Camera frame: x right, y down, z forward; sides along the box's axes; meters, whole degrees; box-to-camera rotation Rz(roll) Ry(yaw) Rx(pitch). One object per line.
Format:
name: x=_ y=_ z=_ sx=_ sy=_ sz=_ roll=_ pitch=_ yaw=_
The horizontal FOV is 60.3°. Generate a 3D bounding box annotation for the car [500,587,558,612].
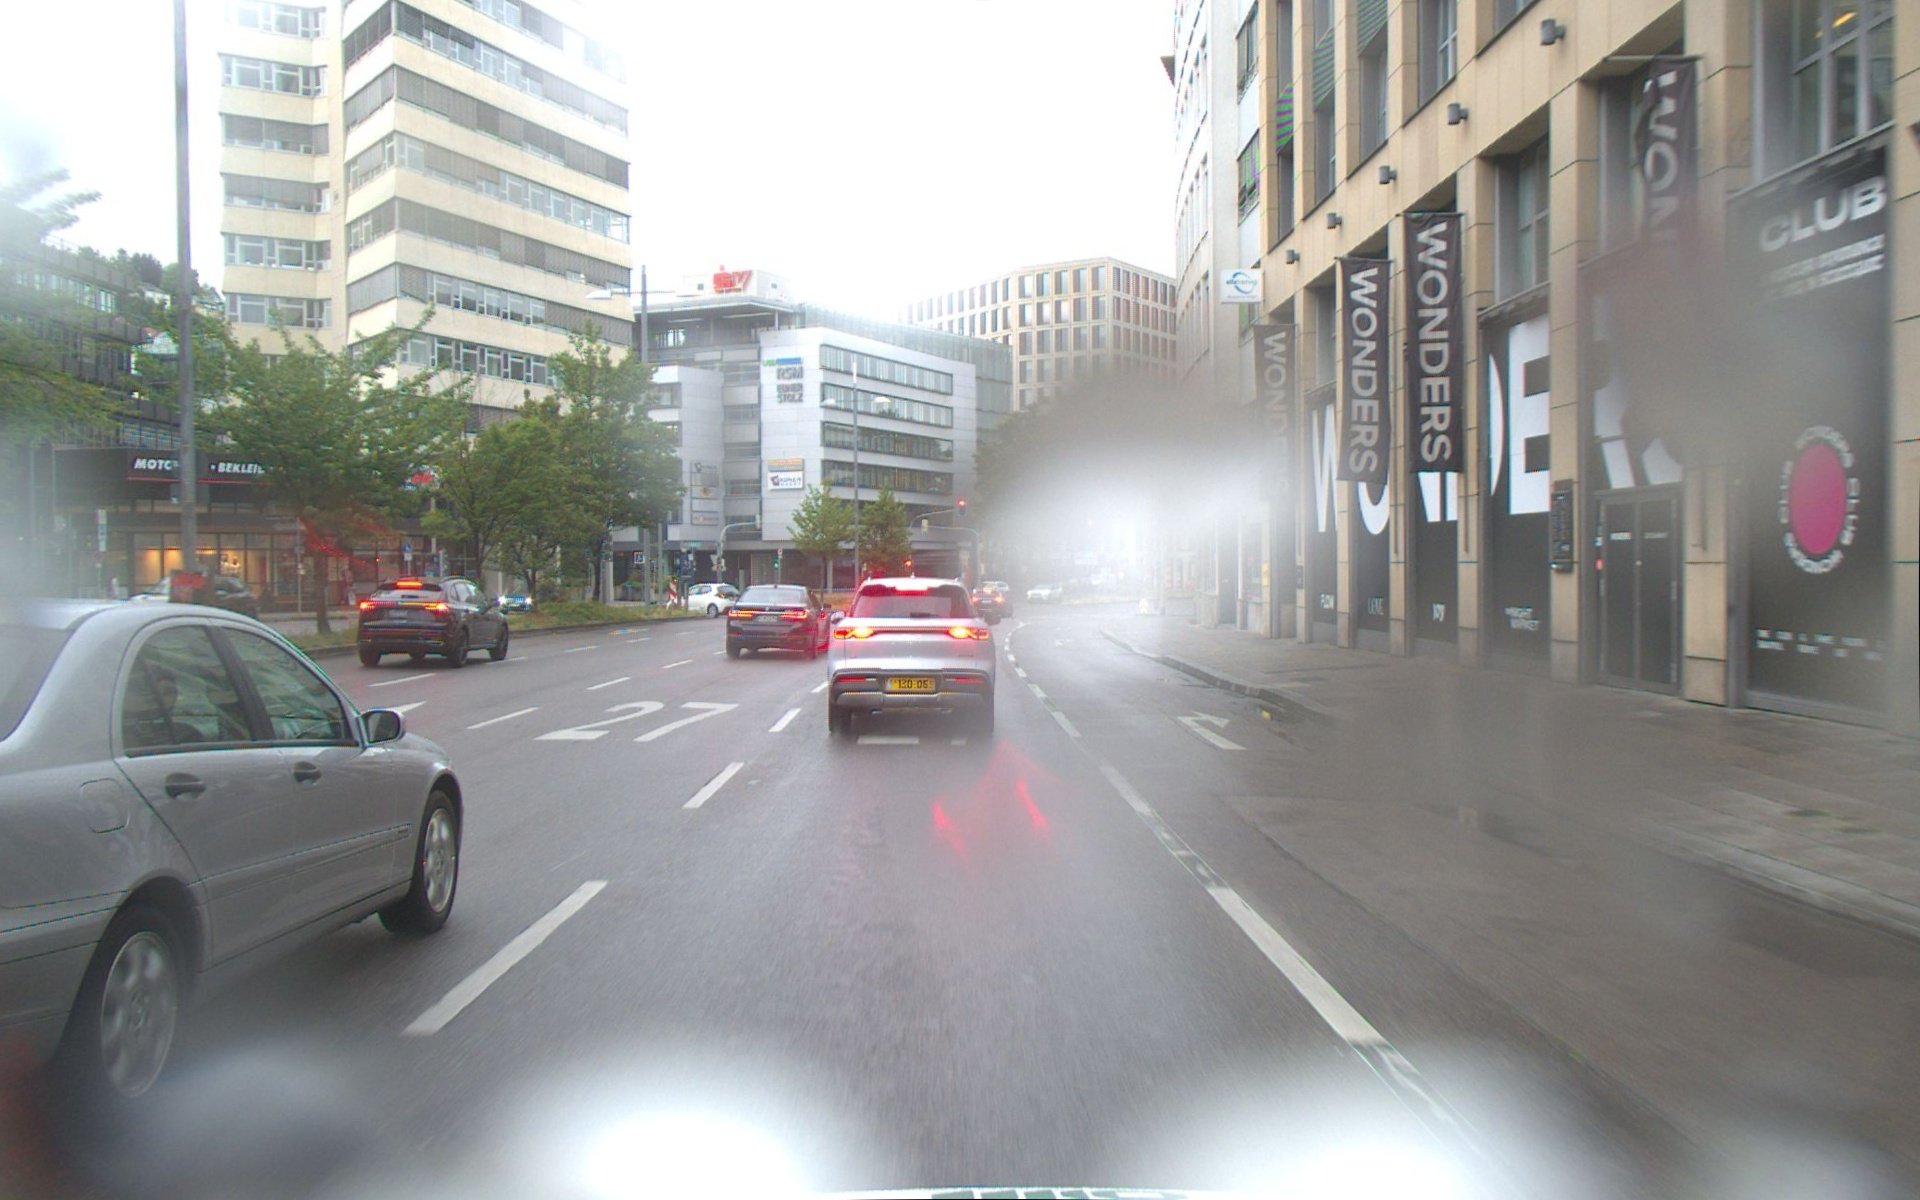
car: x=-20.048 y=-0.034 z=77.025 sx=1.547 sy=1.109 sz=4.001 roll=0 pitch=1 yaw=1

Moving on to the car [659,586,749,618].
car: x=-11.252 y=0.059 z=72.689 sx=3.921 sy=1.365 sz=1.652 roll=1 pitch=1 yaw=37

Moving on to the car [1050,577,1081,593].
car: x=10.497 y=-1.471 z=164.825 sx=1.551 sy=1.565 sz=3.993 roll=0 pitch=1 yaw=29

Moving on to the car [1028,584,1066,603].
car: x=7.272 y=-0.575 z=137.536 sx=1.551 sy=1.565 sz=3.993 roll=0 pitch=1 yaw=29

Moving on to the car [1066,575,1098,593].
car: x=12.741 y=-1.662 z=172.276 sx=1.822 sy=1.766 sz=3.993 roll=0 pitch=1 yaw=29

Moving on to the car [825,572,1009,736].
car: x=-0.466 y=0.539 z=18.791 sx=1.862 sy=1.649 sz=3.999 roll=0 pitch=0 yaw=-1

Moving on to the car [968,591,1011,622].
car: x=1.605 y=0.313 z=88.237 sx=1.773 sy=1.606 sz=4.003 roll=0 pitch=1 yaw=8

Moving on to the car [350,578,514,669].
car: x=-9.218 y=0.386 z=29.196 sx=1.738 sy=1.482 sz=3.998 roll=-1 pitch=0 yaw=-2

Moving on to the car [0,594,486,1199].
car: x=-3.014 y=0.746 z=5.544 sx=1.638 sy=1.505 sz=4.360 roll=1 pitch=0 yaw=-1

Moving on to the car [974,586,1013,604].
car: x=2.948 y=-0.450 z=144.443 sx=1.552 sy=1.565 sz=3.990 roll=0 pitch=1 yaw=32

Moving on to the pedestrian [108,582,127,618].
pedestrian: x=-35.466 y=-0.007 z=69.619 sx=0.661 sy=1.530 sz=0.431 roll=0 pitch=0 yaw=-39

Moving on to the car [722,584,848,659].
car: x=-3.682 y=0.425 z=35.602 sx=1.833 sy=1.505 sz=4.881 roll=0 pitch=0 yaw=4

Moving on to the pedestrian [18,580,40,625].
pedestrian: x=-31.912 y=0.071 z=56.688 sx=0.597 sy=1.530 sz=0.431 roll=0 pitch=0 yaw=-39

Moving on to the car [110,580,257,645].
car: x=-18.794 y=0.290 z=40.242 sx=1.590 sy=1.478 sz=4.162 roll=-1 pitch=0 yaw=0

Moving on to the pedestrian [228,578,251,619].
pedestrian: x=-30.823 y=-0.055 z=70.757 sx=0.746 sy=1.743 sz=0.585 roll=0 pitch=0 yaw=-39
